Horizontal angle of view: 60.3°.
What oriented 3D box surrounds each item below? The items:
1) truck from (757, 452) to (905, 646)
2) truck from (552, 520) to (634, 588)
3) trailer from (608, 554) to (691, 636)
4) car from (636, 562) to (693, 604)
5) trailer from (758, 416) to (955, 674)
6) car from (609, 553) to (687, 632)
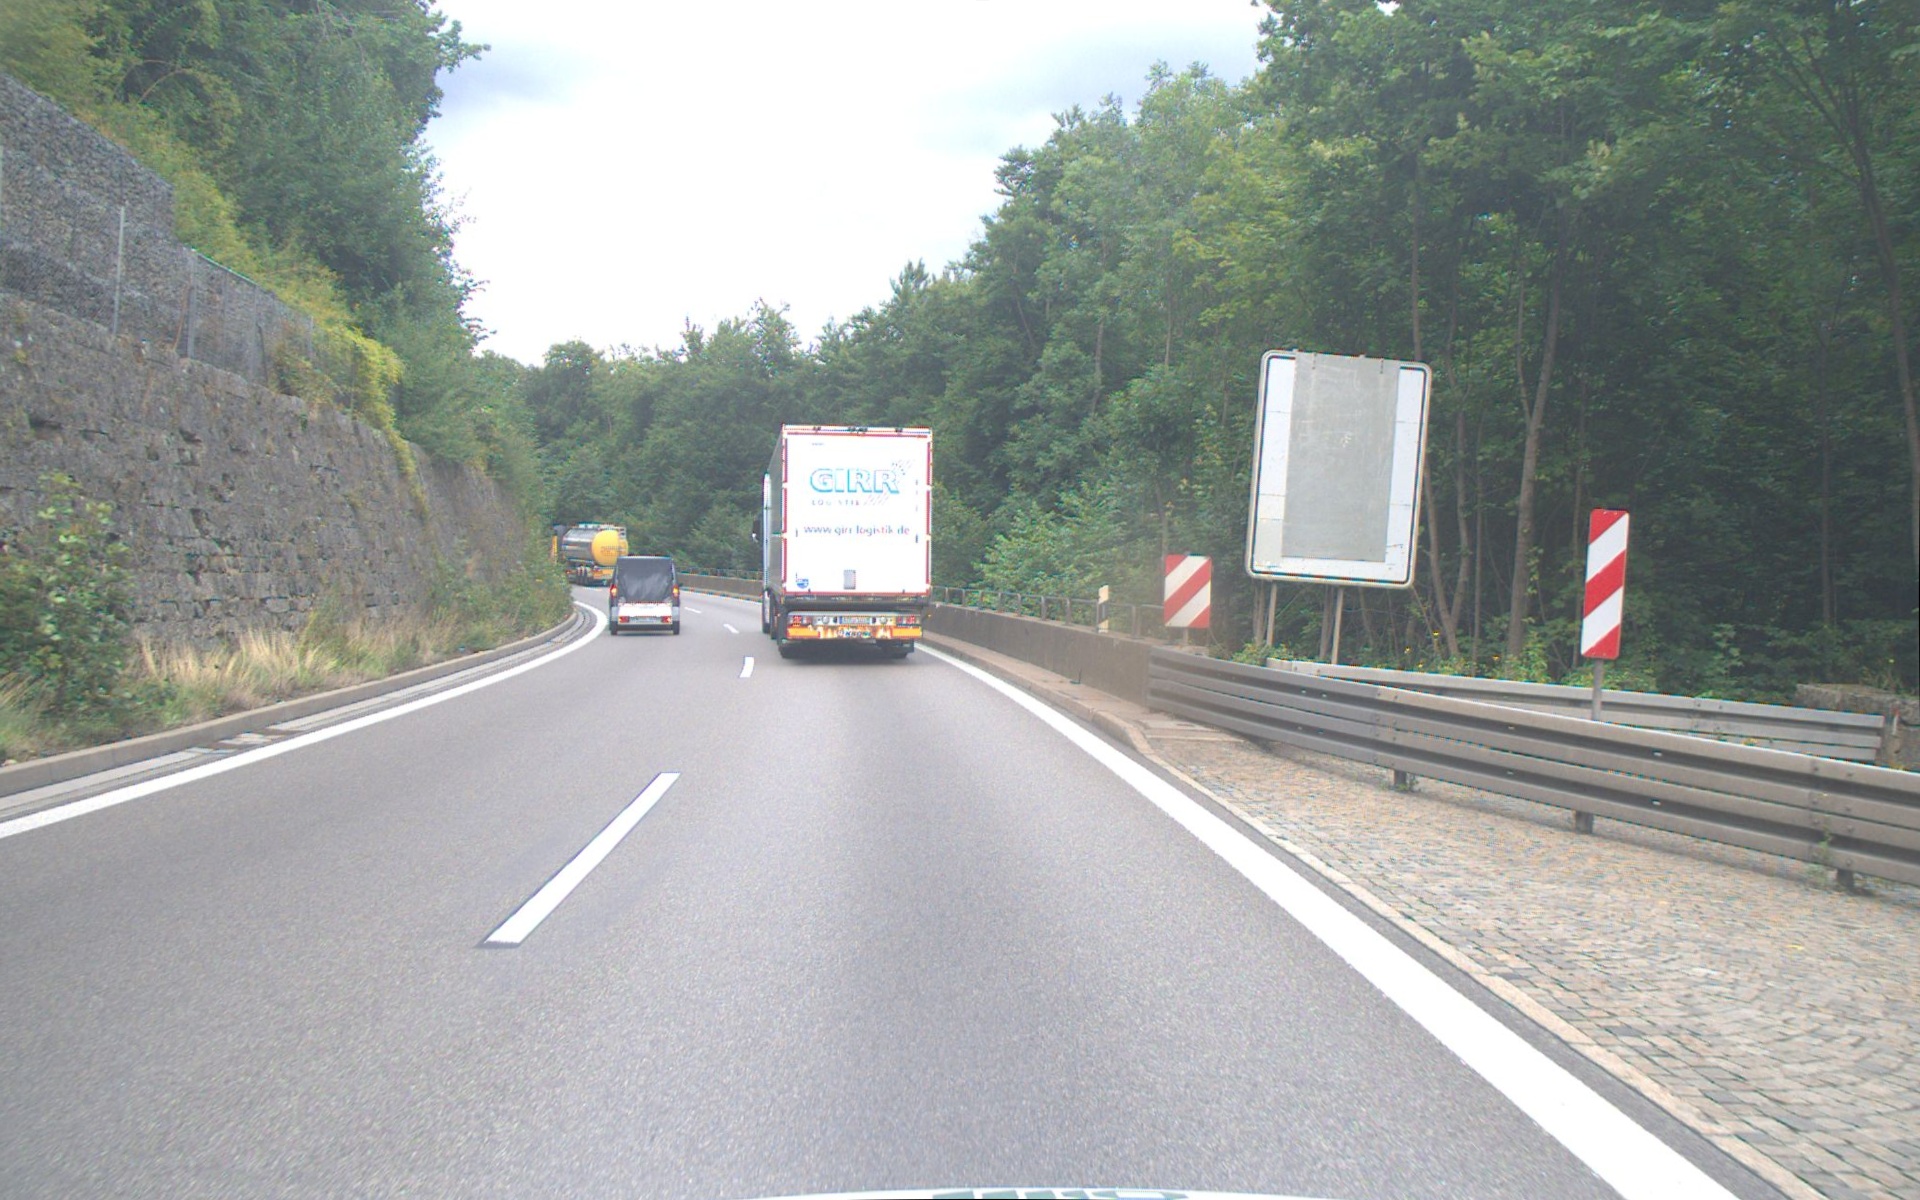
[{"bbox_3d":[-3.244,-1.243,39.553,3.000,4.054,7.177,3,2,-7],"label":"truck"},{"bbox_3d":[-23.657,-2.887,105.944,3.015,4.056,13.608,0,1,-22],"label":"truck"},{"bbox_3d":[-7.817,-0.126,41.662,1.936,1.973,3.421,1,0,-11],"label":"trailer"},{"bbox_3d":[-13.110,-0.784,73.288,1.962,1.690,3.982,3,1,-17],"label":"car"},{"bbox_3d":[-2.420,-1.143,33.154,3.000,4.054,12.120,3,2,-7],"label":"trailer"},{"bbox_3d":[-8.665,-0.210,46.063,1.957,2.049,5.526,1,0,-10],"label":"car"}]
